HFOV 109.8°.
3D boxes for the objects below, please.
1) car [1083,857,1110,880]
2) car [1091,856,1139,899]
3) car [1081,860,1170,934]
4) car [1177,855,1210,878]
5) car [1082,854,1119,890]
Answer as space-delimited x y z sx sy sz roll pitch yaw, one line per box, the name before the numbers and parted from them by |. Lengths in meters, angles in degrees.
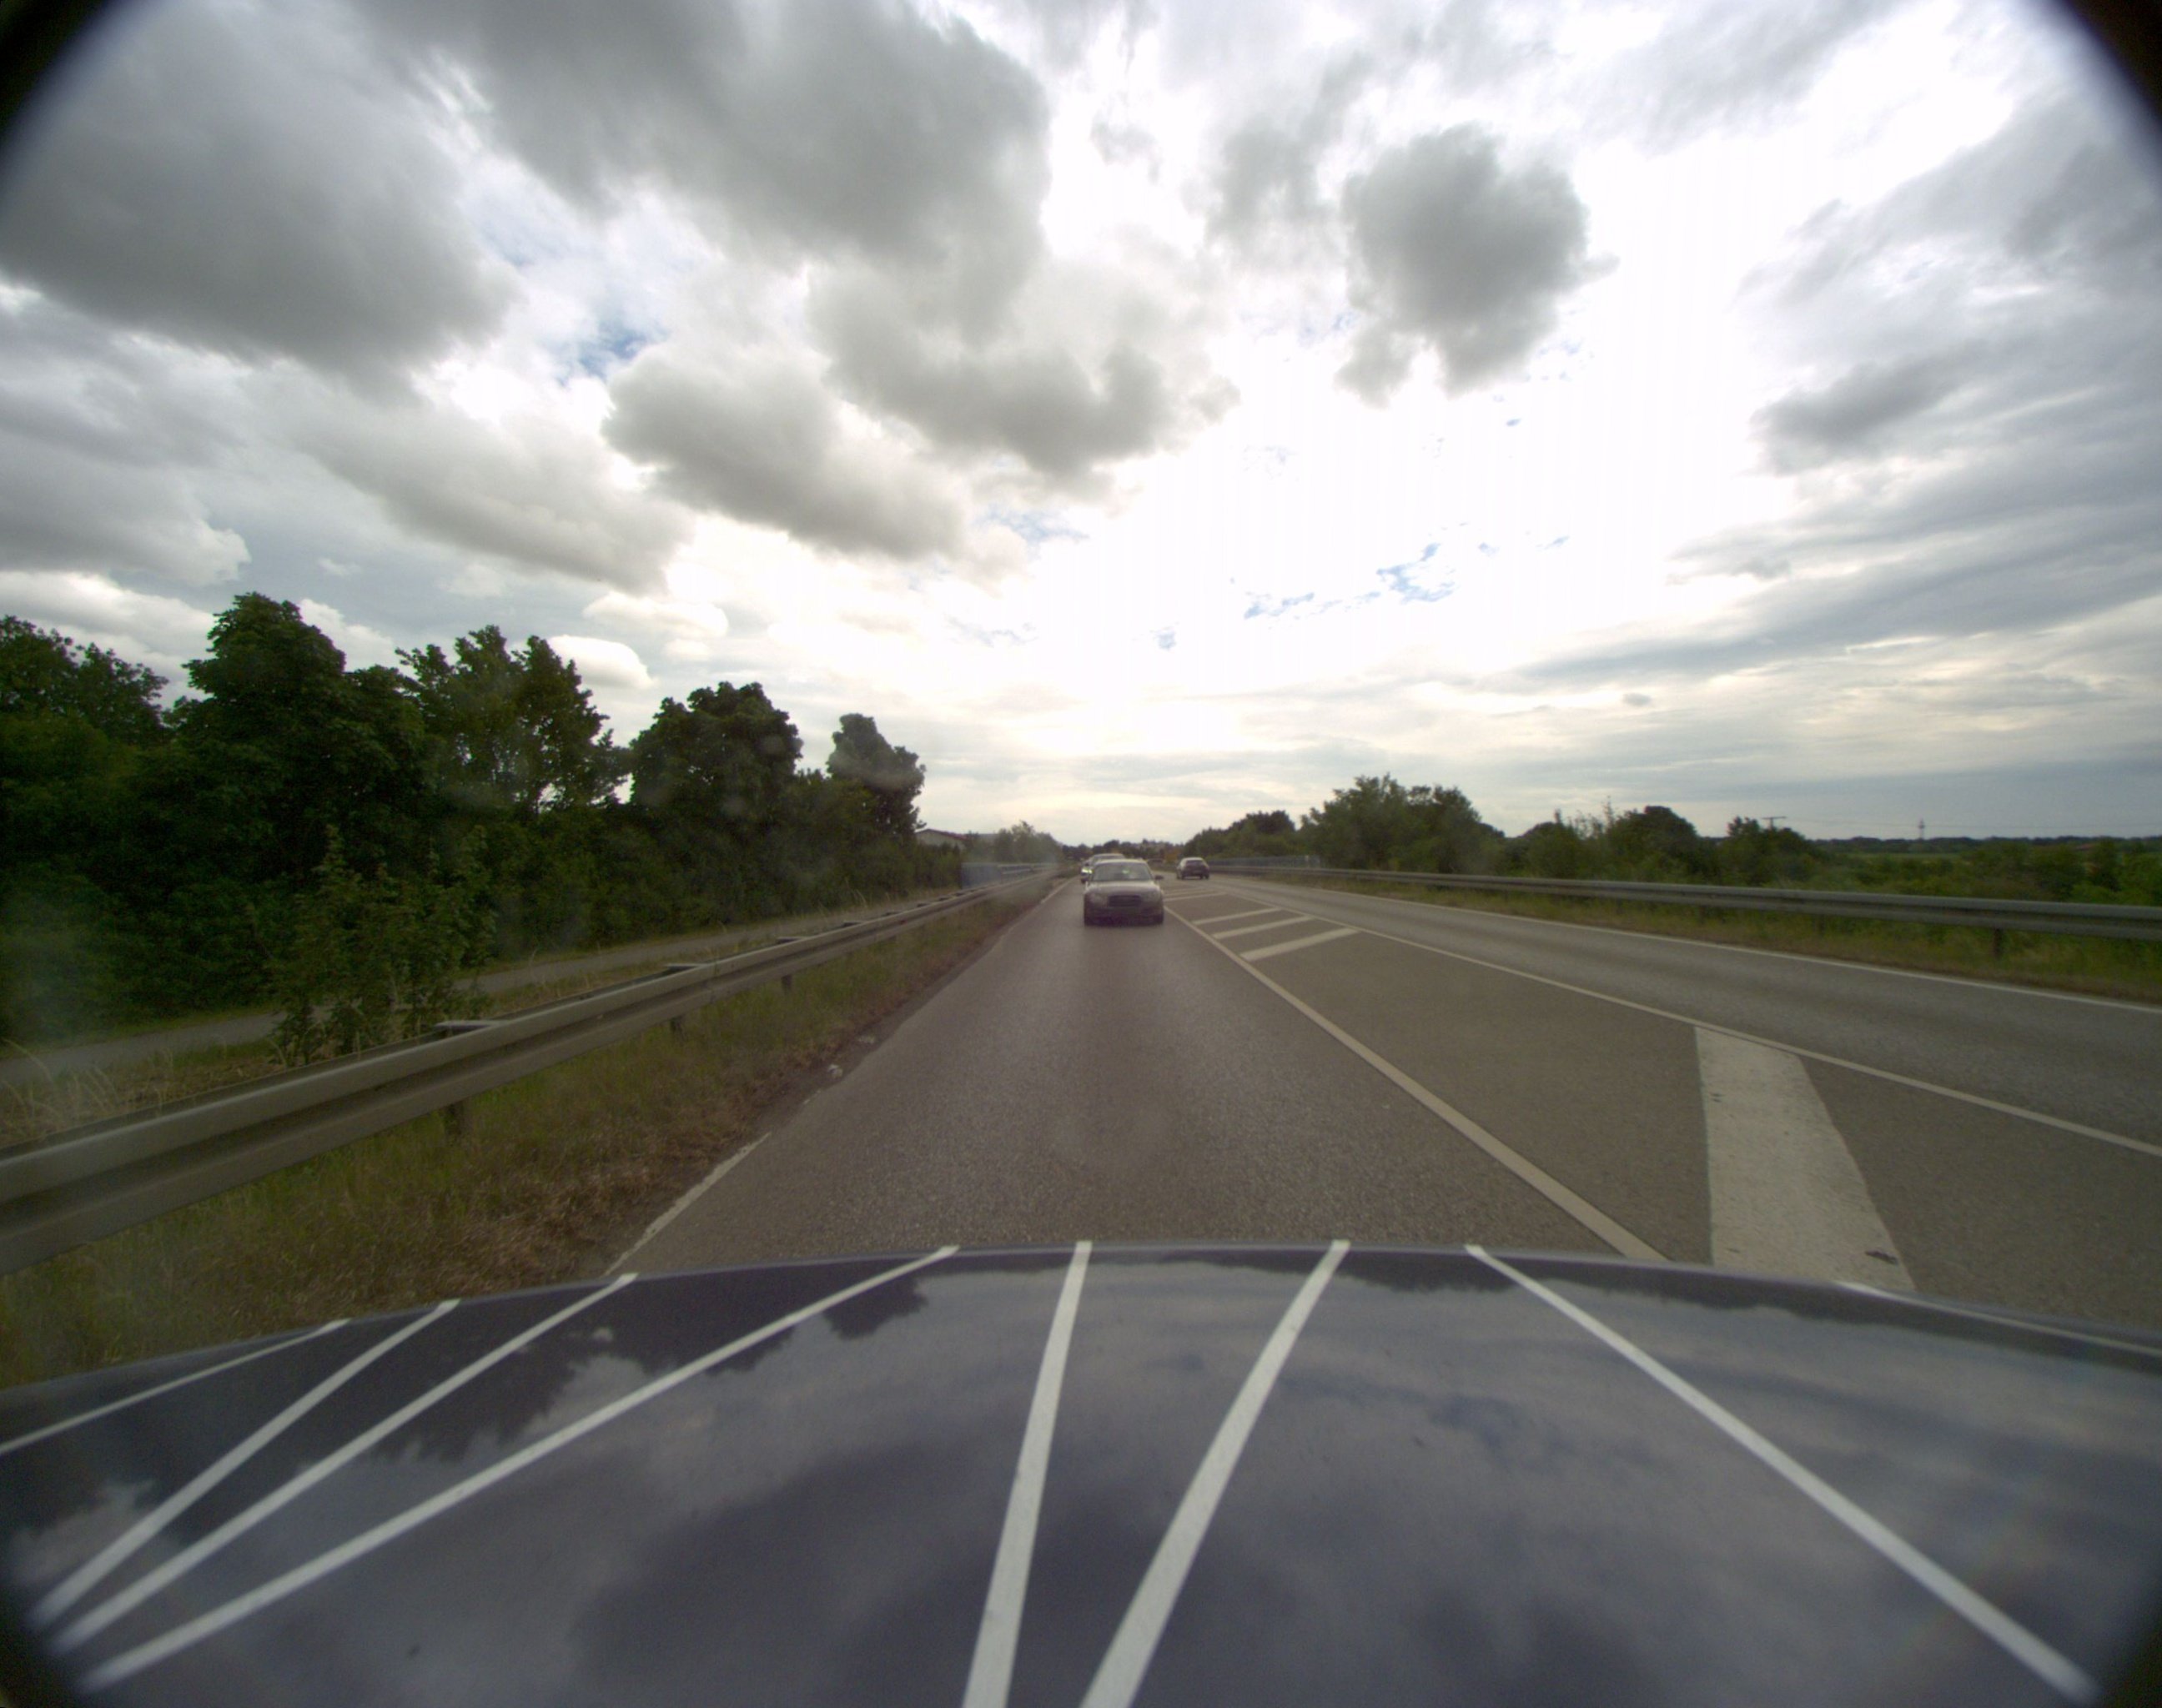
car | 1.027 0.940 49.959 1.670 1.339 4.000 -2 0 1
car | 1.285 0.878 30.081 1.684 1.521 4.000 -2 0 1
car | 0.937 0.904 17.526 1.768 1.383 3.876 -2 1 1
car | 7.555 0.809 51.200 1.626 1.371 4.512 -1 0 1
car | 0.941 0.811 35.598 1.602 1.494 3.962 -2 0 2
